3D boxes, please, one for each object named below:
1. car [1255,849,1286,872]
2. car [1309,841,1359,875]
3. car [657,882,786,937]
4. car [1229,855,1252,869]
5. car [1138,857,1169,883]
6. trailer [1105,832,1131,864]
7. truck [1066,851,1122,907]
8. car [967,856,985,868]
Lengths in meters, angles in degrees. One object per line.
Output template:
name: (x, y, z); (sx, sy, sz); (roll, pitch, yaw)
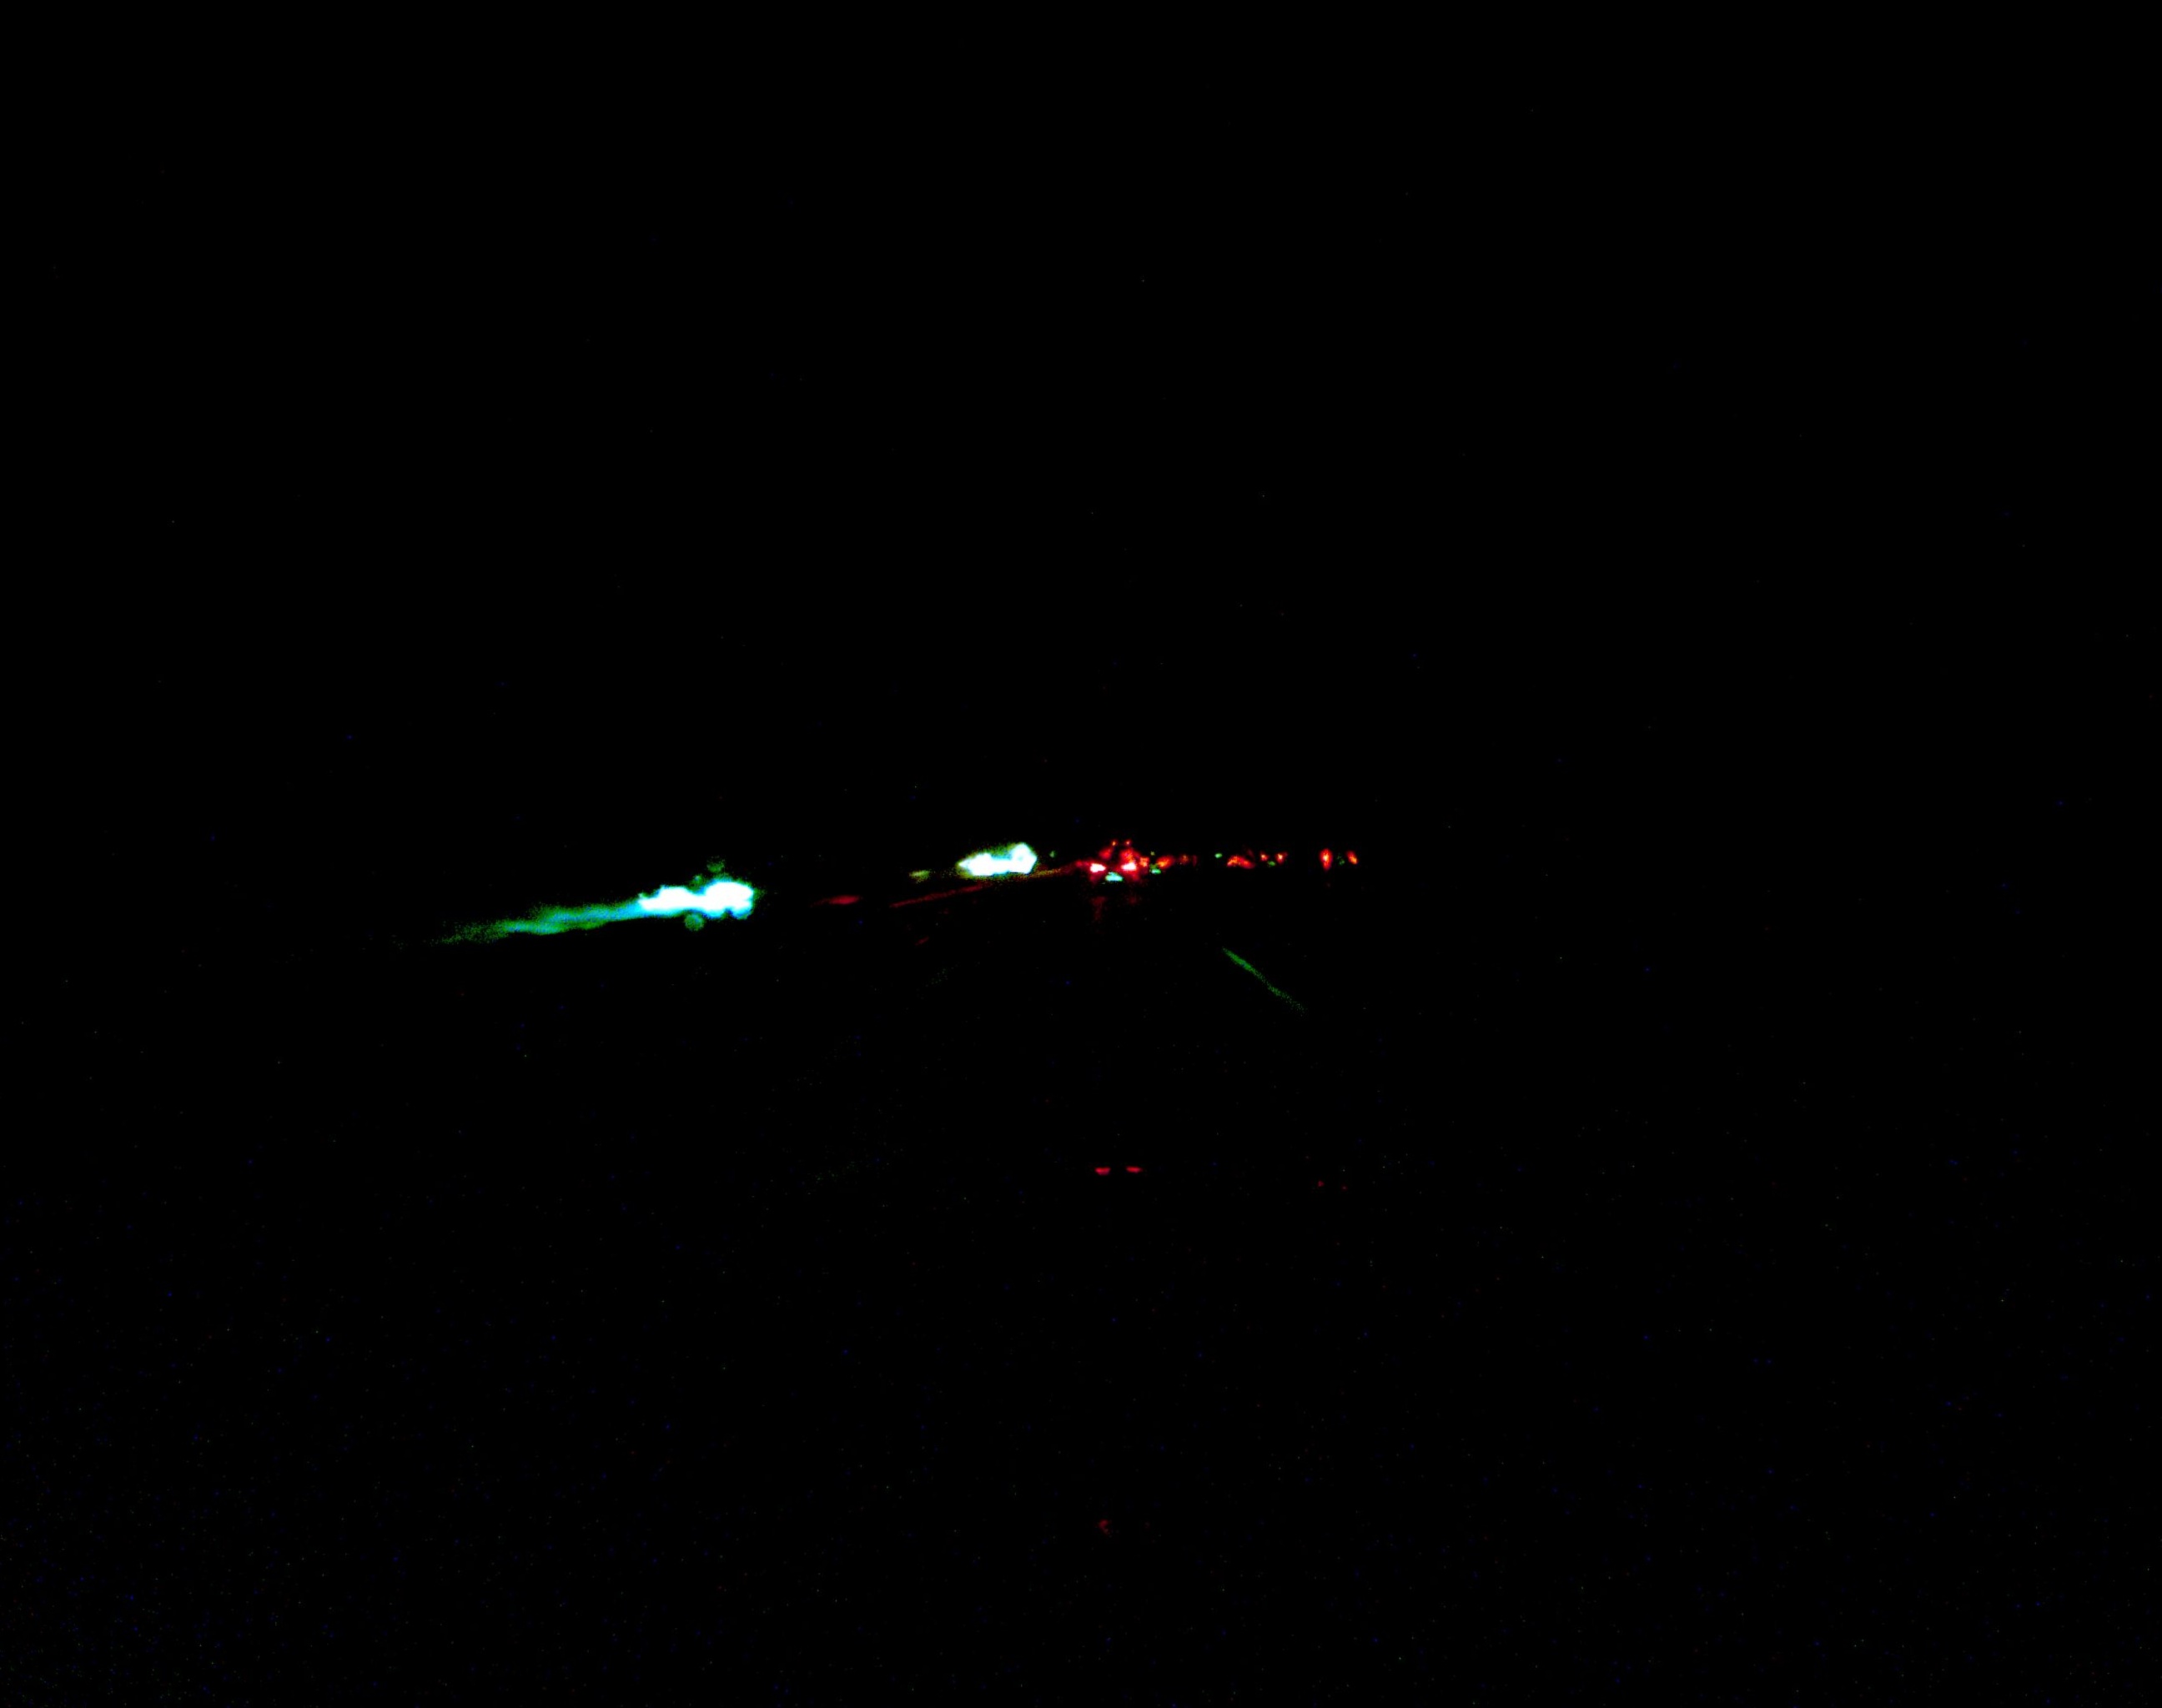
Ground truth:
car: (17.045, 0.583, 73.360); (2.221, 2.013, 4.008); (-1, 0, 7)
car: (15.846, 0.253, 51.250); (2.052, 2.013, 5.459); (-1, 0, 7)
car: (-11.668, 1.748, 26.878); (1.986, 1.525, 4.672); (1, 0, 2)
car: (18.851, 0.973, 96.291); (1.986, 1.600, 4.000); (1, 0, 1)
car: (4.984, 1.095, 56.506); (1.794, 1.617, 4.257); (-3, -1, 1)
trailer: (6.076, -1.079, 135.836); (2.733, 4.245, 13.364); (3, 5, -3)
truck: (0.660, 0.987, 34.581); (2.136, 2.077, 6.608); (1, 0, 3)
car: (-15.200, 1.179, 118.029); (1.986, 1.720, 4.289); (1, 0, 1)
